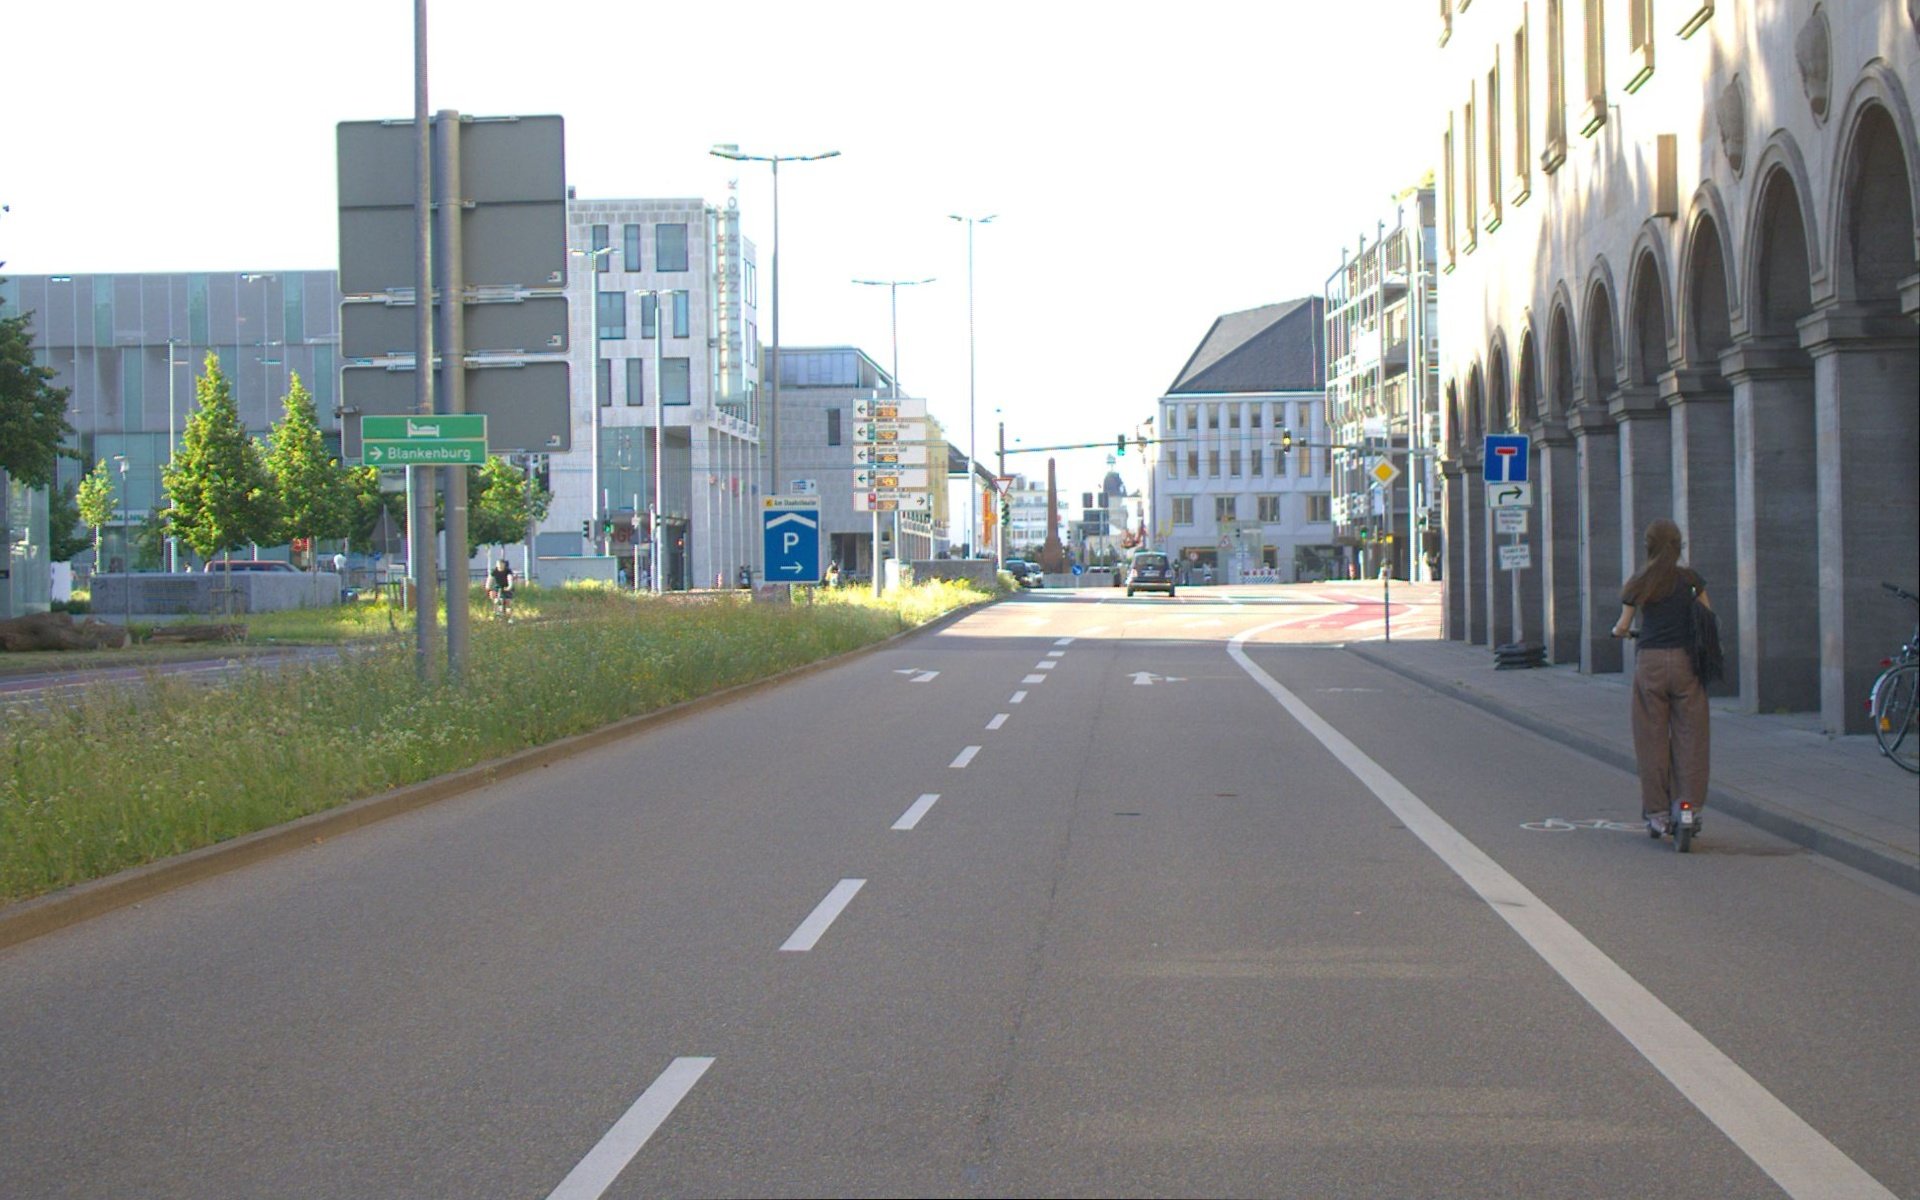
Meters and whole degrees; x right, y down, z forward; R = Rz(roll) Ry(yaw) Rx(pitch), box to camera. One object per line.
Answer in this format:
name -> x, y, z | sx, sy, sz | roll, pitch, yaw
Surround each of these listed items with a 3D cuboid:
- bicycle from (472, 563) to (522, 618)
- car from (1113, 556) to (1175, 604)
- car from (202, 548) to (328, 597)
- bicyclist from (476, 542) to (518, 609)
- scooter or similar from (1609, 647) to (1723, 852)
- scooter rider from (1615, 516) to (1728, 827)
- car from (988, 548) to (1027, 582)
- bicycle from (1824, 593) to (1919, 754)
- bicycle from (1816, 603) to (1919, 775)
bicycle -> -11.356, -0.237, 84.303 | 0.758, 1.270, 2.258 | 0, 2, 4
car -> 6.187, -0.680, 116.217 | 1.776, 1.558, 3.790 | -1, 1, -2
car -> -27.493, -1.097, 136.045 | 4.639, 1.804, 1.872 | -1, -1, -4
bicyclist -> -11.360, -0.600, 84.377 | 0.747, 1.585, 1.202 | -1, 2, 4
scooter or similar -> 3.744, 0.779, 18.278 | 0.555, 1.028, 1.117 | -1, 1, 10
scooter rider -> 3.792, 0.373, 18.357 | 0.561, 1.626, 0.650 | -1, 0, 11
car -> 2.659, -1.962, 191.145 | 1.994, 1.736, 4.646 | 0, 2, 3
bicycle -> 6.749, 0.481, 23.842 | 1.709, 1.047, 0.612 | -3, 1, -44
bicycle -> 6.391, 0.536, 21.931 | 1.707, 1.047, 0.528 | -3, 0, -11
